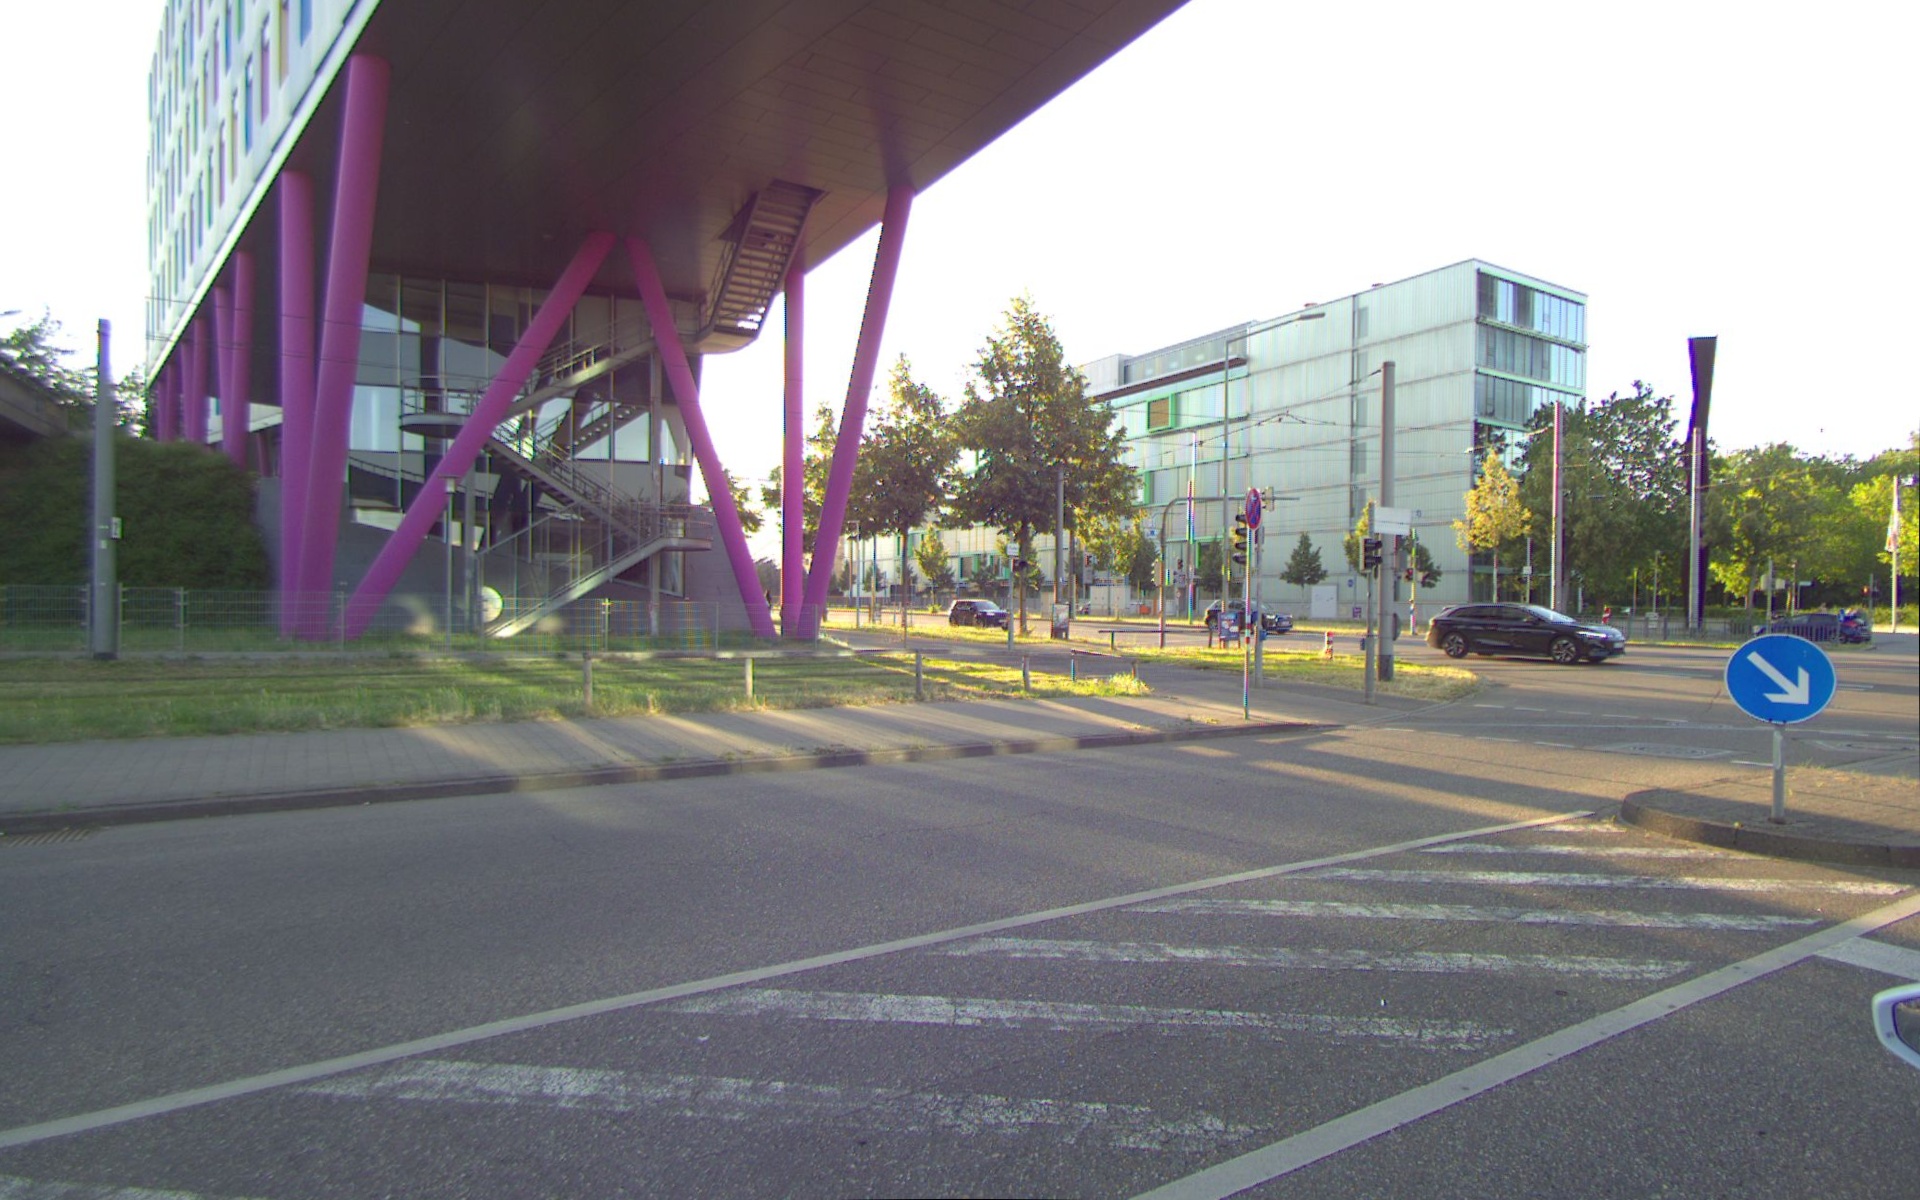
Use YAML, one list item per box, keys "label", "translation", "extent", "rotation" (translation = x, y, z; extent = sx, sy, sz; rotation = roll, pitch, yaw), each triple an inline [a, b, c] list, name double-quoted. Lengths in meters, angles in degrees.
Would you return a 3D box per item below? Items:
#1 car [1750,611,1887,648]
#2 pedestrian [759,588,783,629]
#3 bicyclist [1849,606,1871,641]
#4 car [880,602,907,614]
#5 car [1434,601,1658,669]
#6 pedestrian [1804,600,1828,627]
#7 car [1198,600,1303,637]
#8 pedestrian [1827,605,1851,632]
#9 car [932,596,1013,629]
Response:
- label: "car"
  translation: [39.808, 1.338, 46.685]
  extent: [1.975, 1.572, 4.454]
  rotation: [2, -1, -28]
- label: "pedestrian"
  translation: [-8.085, 0.363, 42.987]
  extent: [0.915, 1.747, 0.882]
  rotation: [0, -2, -6]
- label: "bicyclist"
  translation: [45.248, 1.182, 50.491]
  extent: [0.741, 1.732, 0.916]
  rotation: [1, 0, 39]
- label: "car"
  translation: [-8.486, 1.000, 127.678]
  extent: [1.782, 1.516, 4.314]
  rotation: [2, -1, -28]
- label: "car"
  translation: [15.669, 0.871, 27.162]
  extent: [1.979, 1.636, 4.878]
  rotation: [1, 0, -33]
- label: "pedestrian"
  translation: [56.594, 0.882, 66.399]
  extent: [0.814, 1.767, 0.863]
  rotation: [1, 0, -1]
- label: "car"
  translation: [13.295, 0.802, 46.194]
  extent: [1.968, 1.577, 4.448]
  rotation: [1, 0, -34]
- label: "pedestrian"
  translation: [58.228, 1.206, 66.525]
  extent: [0.814, 1.767, 0.863]
  rotation: [1, 0, 0]
- label: "car"
  translation: [0.560, 0.597, 50.342]
  extent: [1.978, 1.595, 4.409]
  rotation: [1, 0, -32]
